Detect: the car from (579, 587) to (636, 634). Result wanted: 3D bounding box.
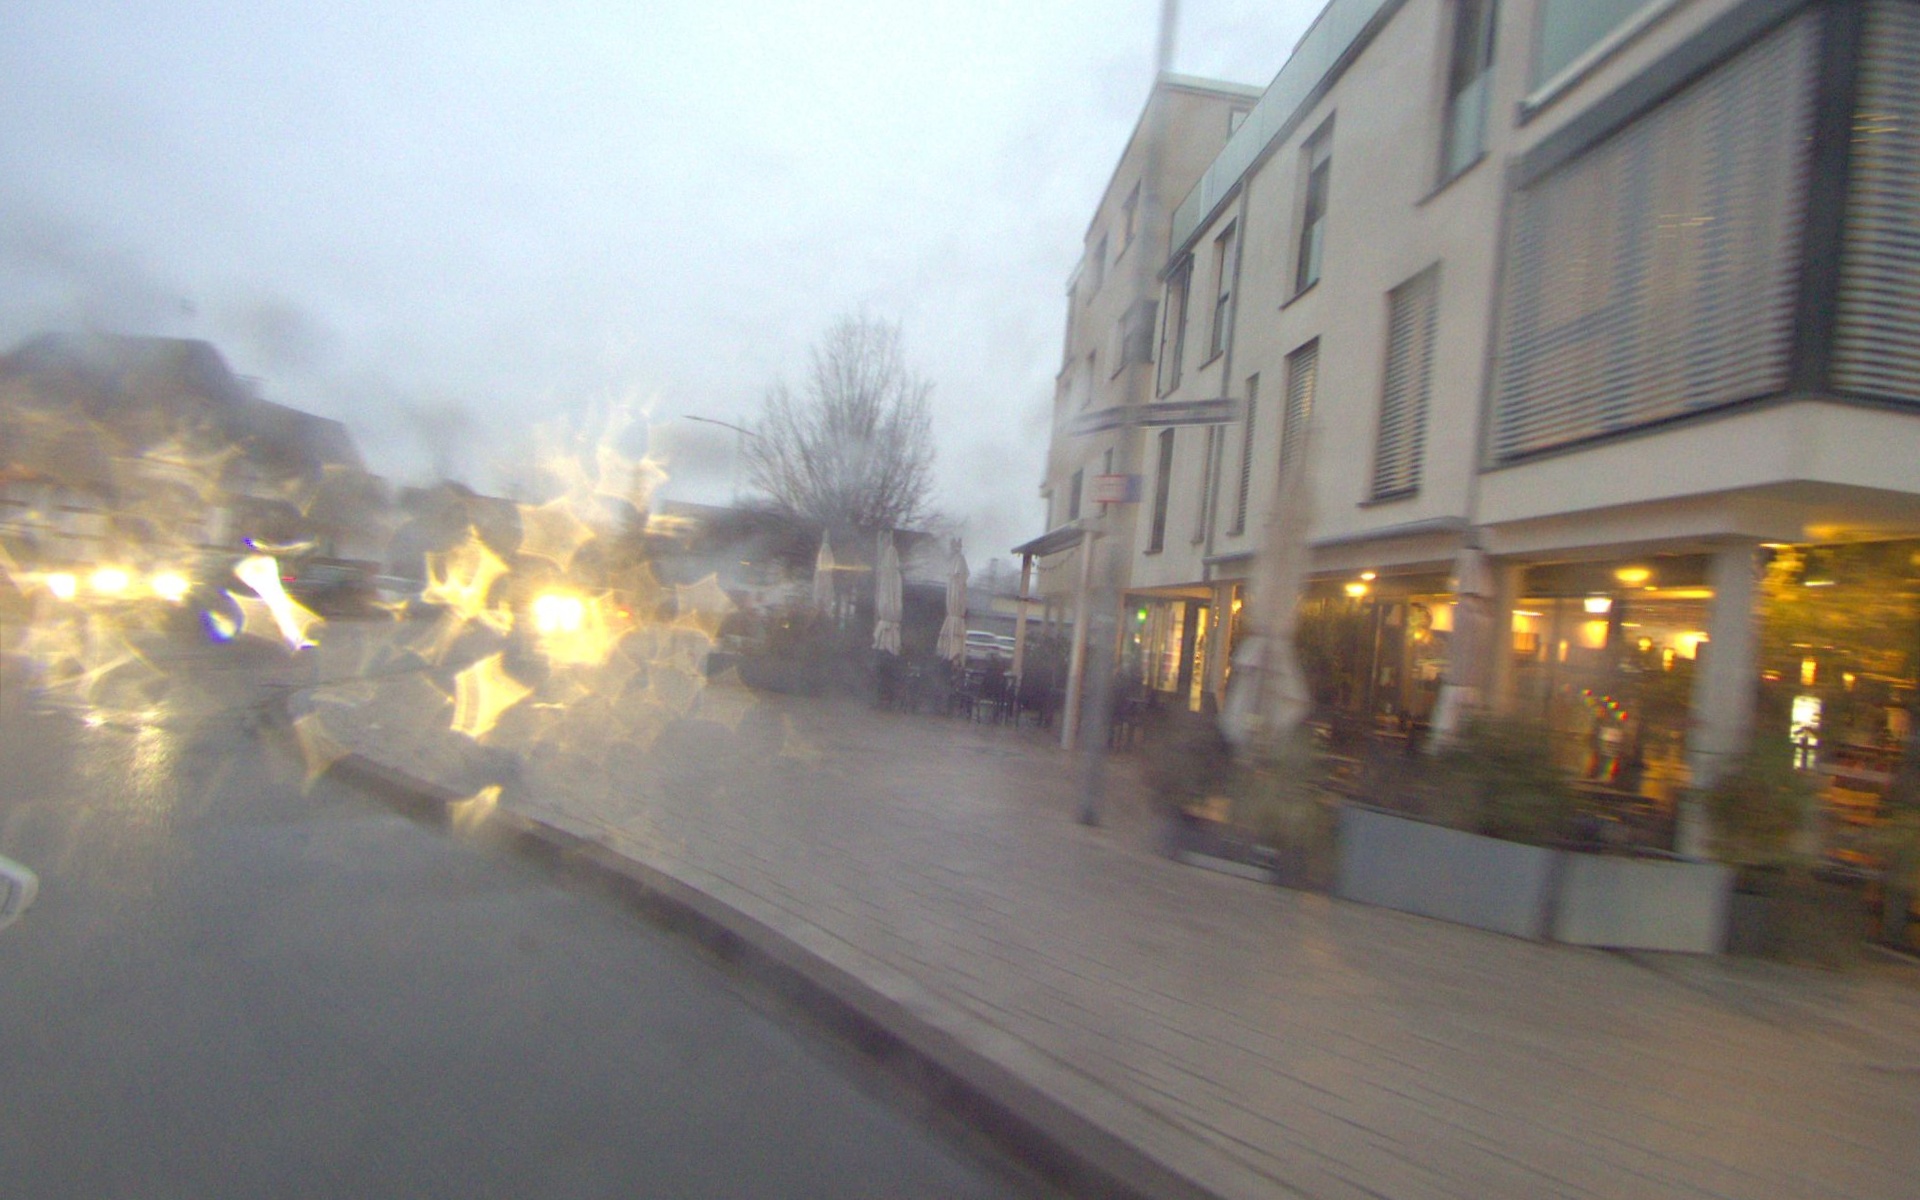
[{"bbox_3d":[-16.666,0.512,47.764,1.966,2.038,4.890,3,-1,-13],"label":"car"}]

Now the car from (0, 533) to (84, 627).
[{"bbox_3d":[-16.927,-0.439,16.481,1.666,1.570,4.001,6,-2,-3],"label":"car"}]

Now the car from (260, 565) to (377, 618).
[{"bbox_3d":[-21.565,-0.233,34.008,1.697,1.483,3.708,7,-2,-6],"label":"car"}]

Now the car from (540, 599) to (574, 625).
[{"bbox_3d":[-27.116,0.757,67.725,1.856,1.470,3.984,7,-2,-20],"label":"car"}]

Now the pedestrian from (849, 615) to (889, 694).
[{"bbox_3d":[-1.764,1.053,19.523,0.544,1.472,0.450,7,0,-15],"label":"pedestrian"}]

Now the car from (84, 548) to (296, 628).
[{"bbox_3d":[-17.403,-0.191,23.028,1.666,1.526,4.257,5,-2,-4],"label":"car"}]

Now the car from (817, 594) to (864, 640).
[{"bbox_3d":[-6.305,0.915,52.740,2.176,2.037,4.856,6,-2,-8],"label":"car"}]

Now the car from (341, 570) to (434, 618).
[{"bbox_3d":[-22.183,-0.179,39.141,1.644,1.568,3.716,7,-2,-6],"label":"car"}]
